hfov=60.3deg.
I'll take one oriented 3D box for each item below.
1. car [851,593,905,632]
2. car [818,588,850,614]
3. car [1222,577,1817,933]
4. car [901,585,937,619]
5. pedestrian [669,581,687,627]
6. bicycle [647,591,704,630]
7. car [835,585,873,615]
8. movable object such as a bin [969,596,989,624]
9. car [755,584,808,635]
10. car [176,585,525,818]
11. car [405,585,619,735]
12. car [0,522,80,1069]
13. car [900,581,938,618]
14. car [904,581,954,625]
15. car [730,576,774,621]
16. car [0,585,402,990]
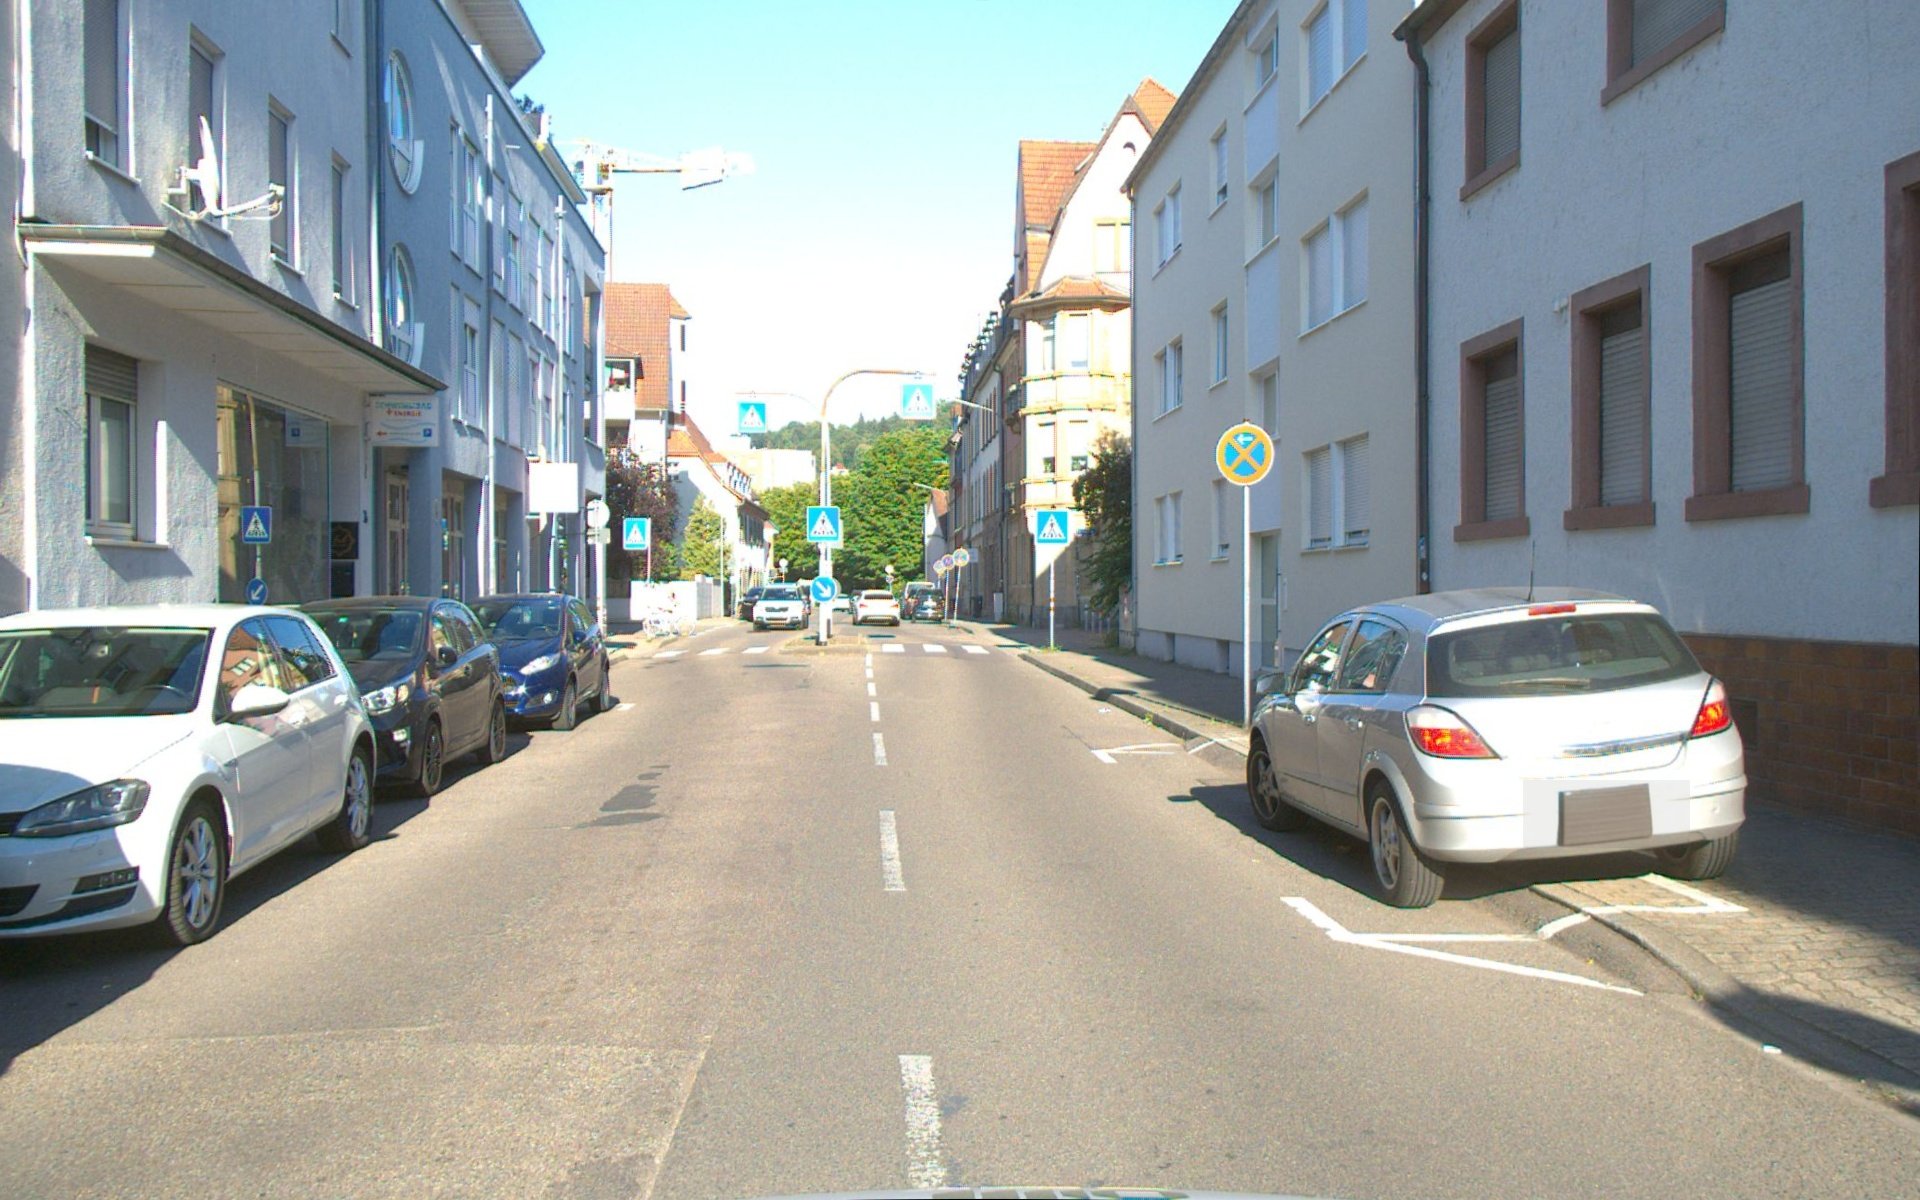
[{"bbox_3d":[-3.336,0.492,67.049,1.955,1.492,3.995,-1,0,-6],"label":"car"},{"bbox_3d":[-10.481,0.061,137.530,1.960,2.049,3.985,0,0,-15],"label":"car"},{"bbox_3d":[2.850,0.668,9.573,1.707,1.518,4.436,-2,0,-3],"label":"car"},{"bbox_3d":[-2.130,0.089,85.491,1.781,1.659,3.999,-1,1,-1],"label":"car"},{"bbox_3d":[-9.179,0.124,53.843,0.546,1.498,0.600,-1,0,-7],"label":"pedestrian"},{"bbox_3d":[-9.191,0.333,53.452,1.751,1.205,0.598,-1,0,-4],"label":"bicycle"},{"bbox_3d":[-7.348,-0.011,114.129,1.959,2.049,3.986,-1,0,-13],"label":"car"},{"bbox_3d":[0.975,0.521,85.143,0.855,1.401,0.684,-2,1,-8],"label":"movable object such as a bin"},{"bbox_3d":[-6.504,0.309,59.923,1.773,1.731,4.185,-2,1,-8],"label":"car"},{"bbox_3d":[-4.783,0.695,13.544,1.628,1.552,3.806,-3,1,-4],"label":"car"},{"bbox_3d":[-5.076,0.634,19.231,1.697,1.525,3.955,-1,0,-5],"label":"car"},{"bbox_3d":[-3.676,0.616,2.942,1.955,1.676,5.214,0,1,-7],"label":"car"},{"bbox_3d":[-2.271,-0.045,90.404,1.805,1.939,3.996,-2,1,-5],"label":"car"},{"bbox_3d":[-1.404,0.101,74.151,1.972,1.885,3.996,1,1,-5],"label":"car"},{"bbox_3d":[-9.787,-0.086,78.068,1.955,2.049,3.995,0,0,-6],"label":"car"},{"bbox_3d":[-4.229,0.728,8.335,1.730,1.521,4.121,-3,1,-6],"label":"car"}]
